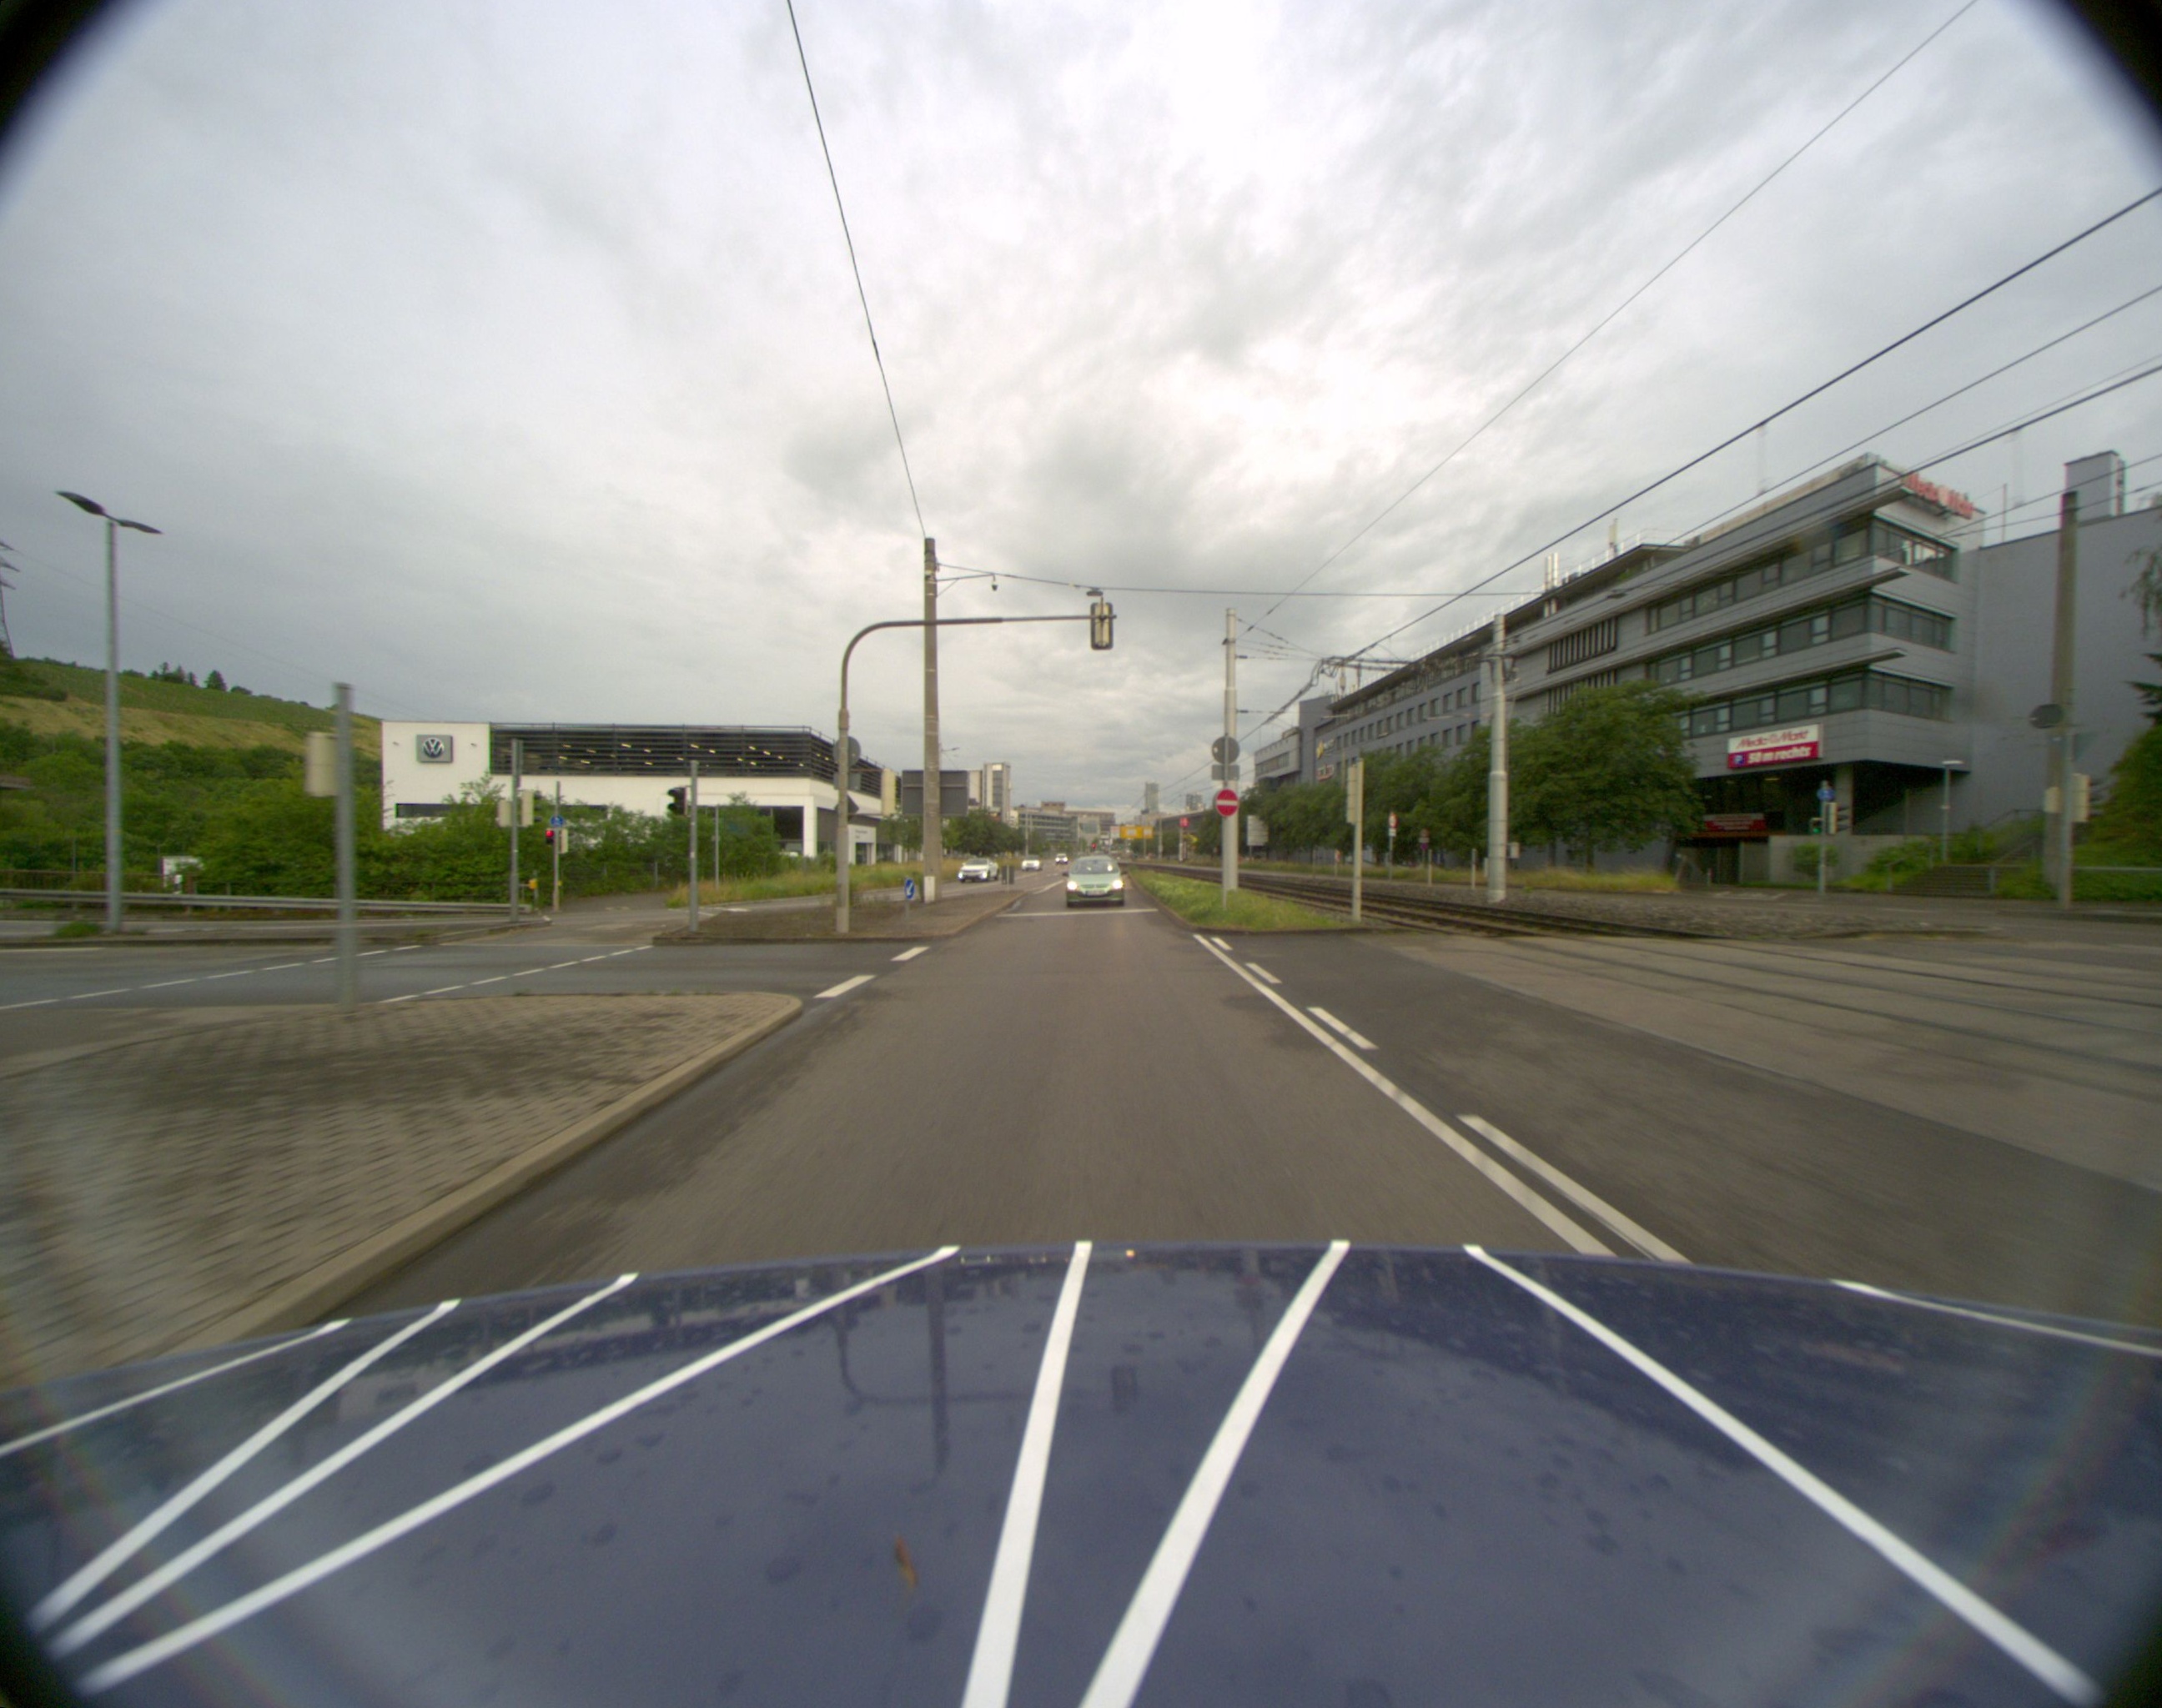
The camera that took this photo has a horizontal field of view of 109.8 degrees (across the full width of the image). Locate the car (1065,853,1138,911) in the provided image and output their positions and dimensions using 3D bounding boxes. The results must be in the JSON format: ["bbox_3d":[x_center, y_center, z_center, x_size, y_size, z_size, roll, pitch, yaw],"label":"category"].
[{"bbox_3d":[0.714,0.793,23.586,1.779,1.493,4.001,-2,1,8],"label":"car"}]

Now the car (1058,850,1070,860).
[{"bbox_3d":[-2.702,0.192,121.418,1.993,1.531,4.108,-1,1,-1],"label":"car"}]

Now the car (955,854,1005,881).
[{"bbox_3d":[-6.359,0.817,48.302,2.038,1.531,4.112,-1,1,9],"label":"car"}]

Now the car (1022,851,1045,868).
[{"bbox_3d":[-4.563,0.541,73.531,1.993,1.531,4.109,-1,1,1],"label":"car"}]
